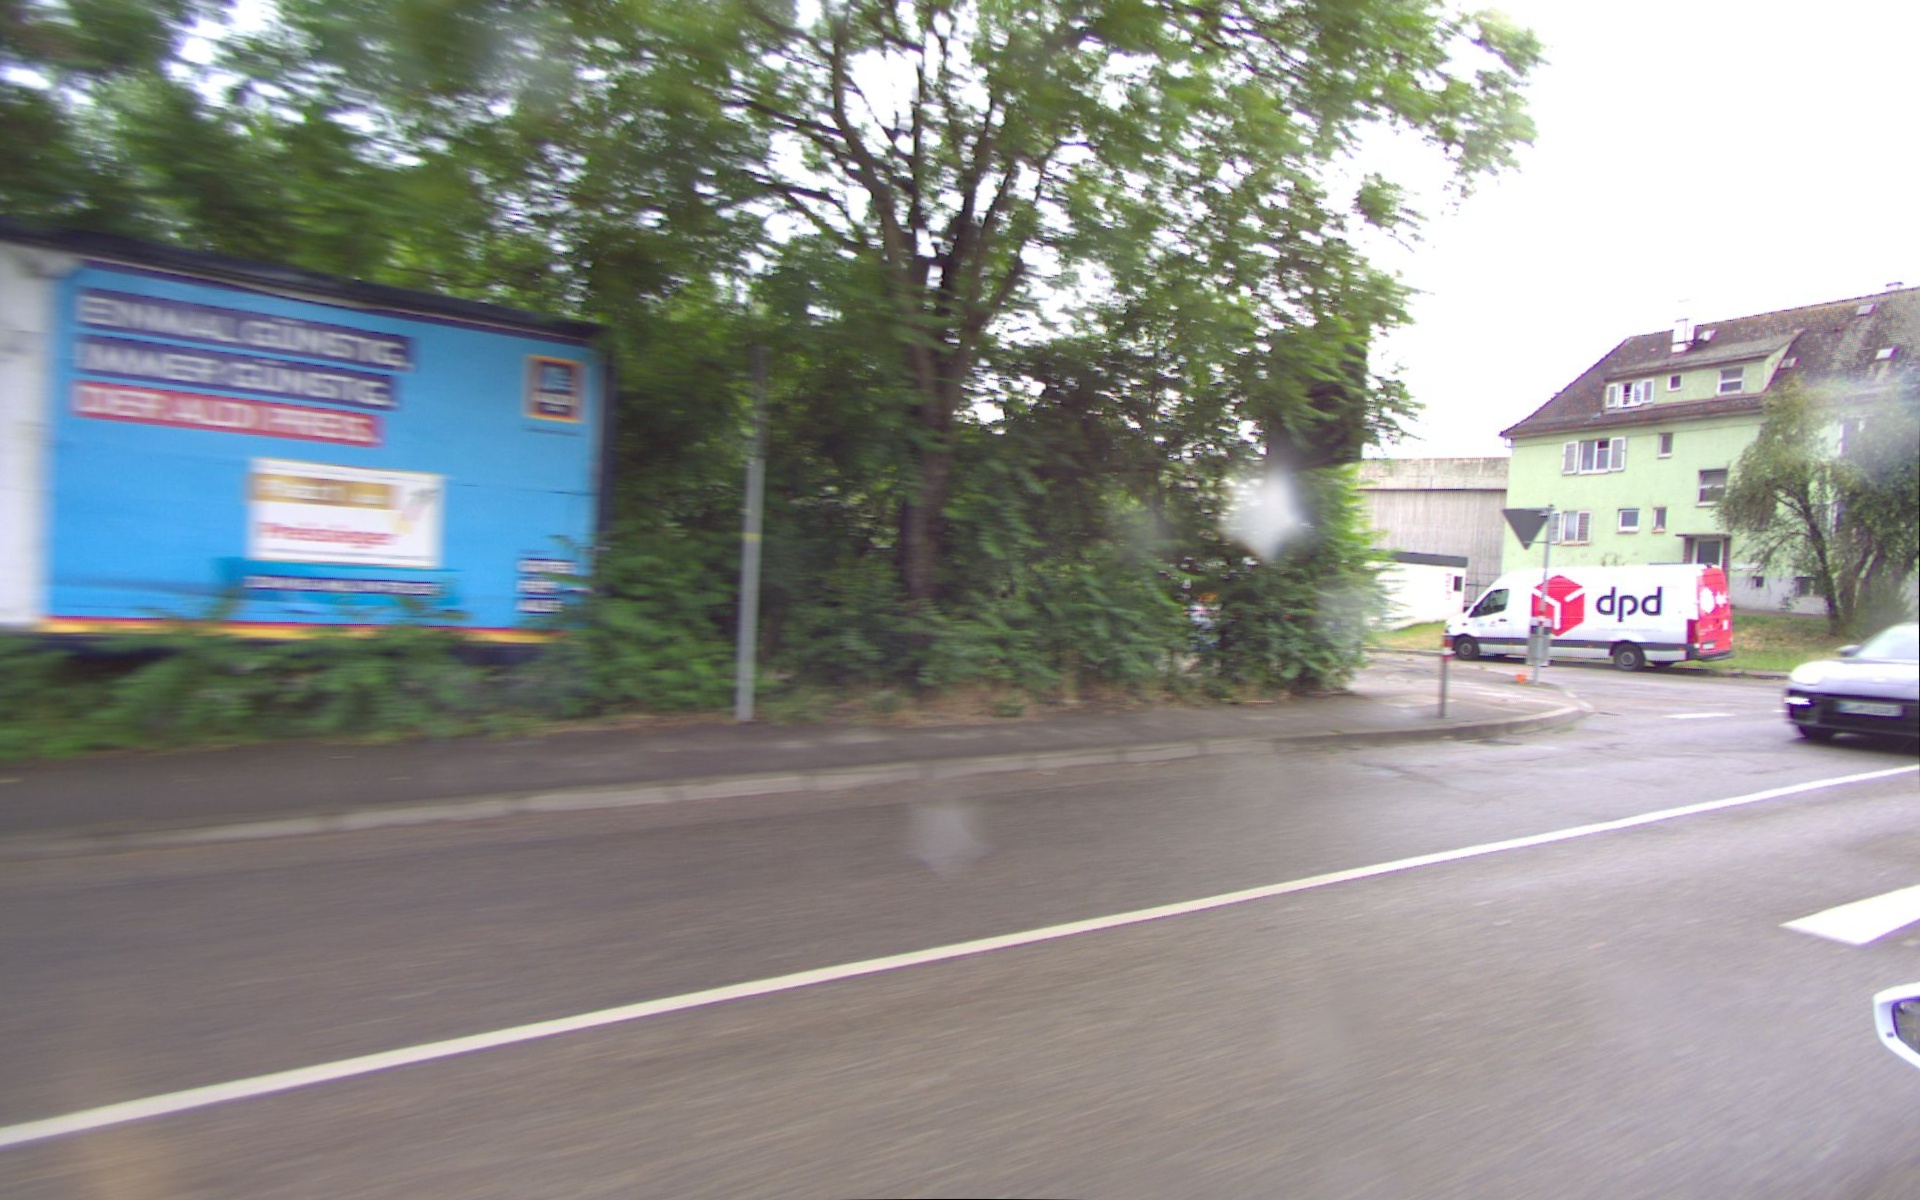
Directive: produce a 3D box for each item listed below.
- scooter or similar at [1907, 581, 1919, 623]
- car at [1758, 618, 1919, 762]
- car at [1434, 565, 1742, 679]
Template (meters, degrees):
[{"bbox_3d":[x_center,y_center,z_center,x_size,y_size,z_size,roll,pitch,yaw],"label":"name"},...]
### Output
[{"bbox_3d":[30.727,0.122,31.370,0.521,1.291,1.520,1,5,-16],"label":"scooter or similar"},{"bbox_3d":[11.808,0.991,11.869,4.714,1.462,1.986,1,0,-27],"label":"car"},{"bbox_3d":[16.648,0.447,27.197,2.237,2.691,6.767,1,1,-30],"label":"car"}]
